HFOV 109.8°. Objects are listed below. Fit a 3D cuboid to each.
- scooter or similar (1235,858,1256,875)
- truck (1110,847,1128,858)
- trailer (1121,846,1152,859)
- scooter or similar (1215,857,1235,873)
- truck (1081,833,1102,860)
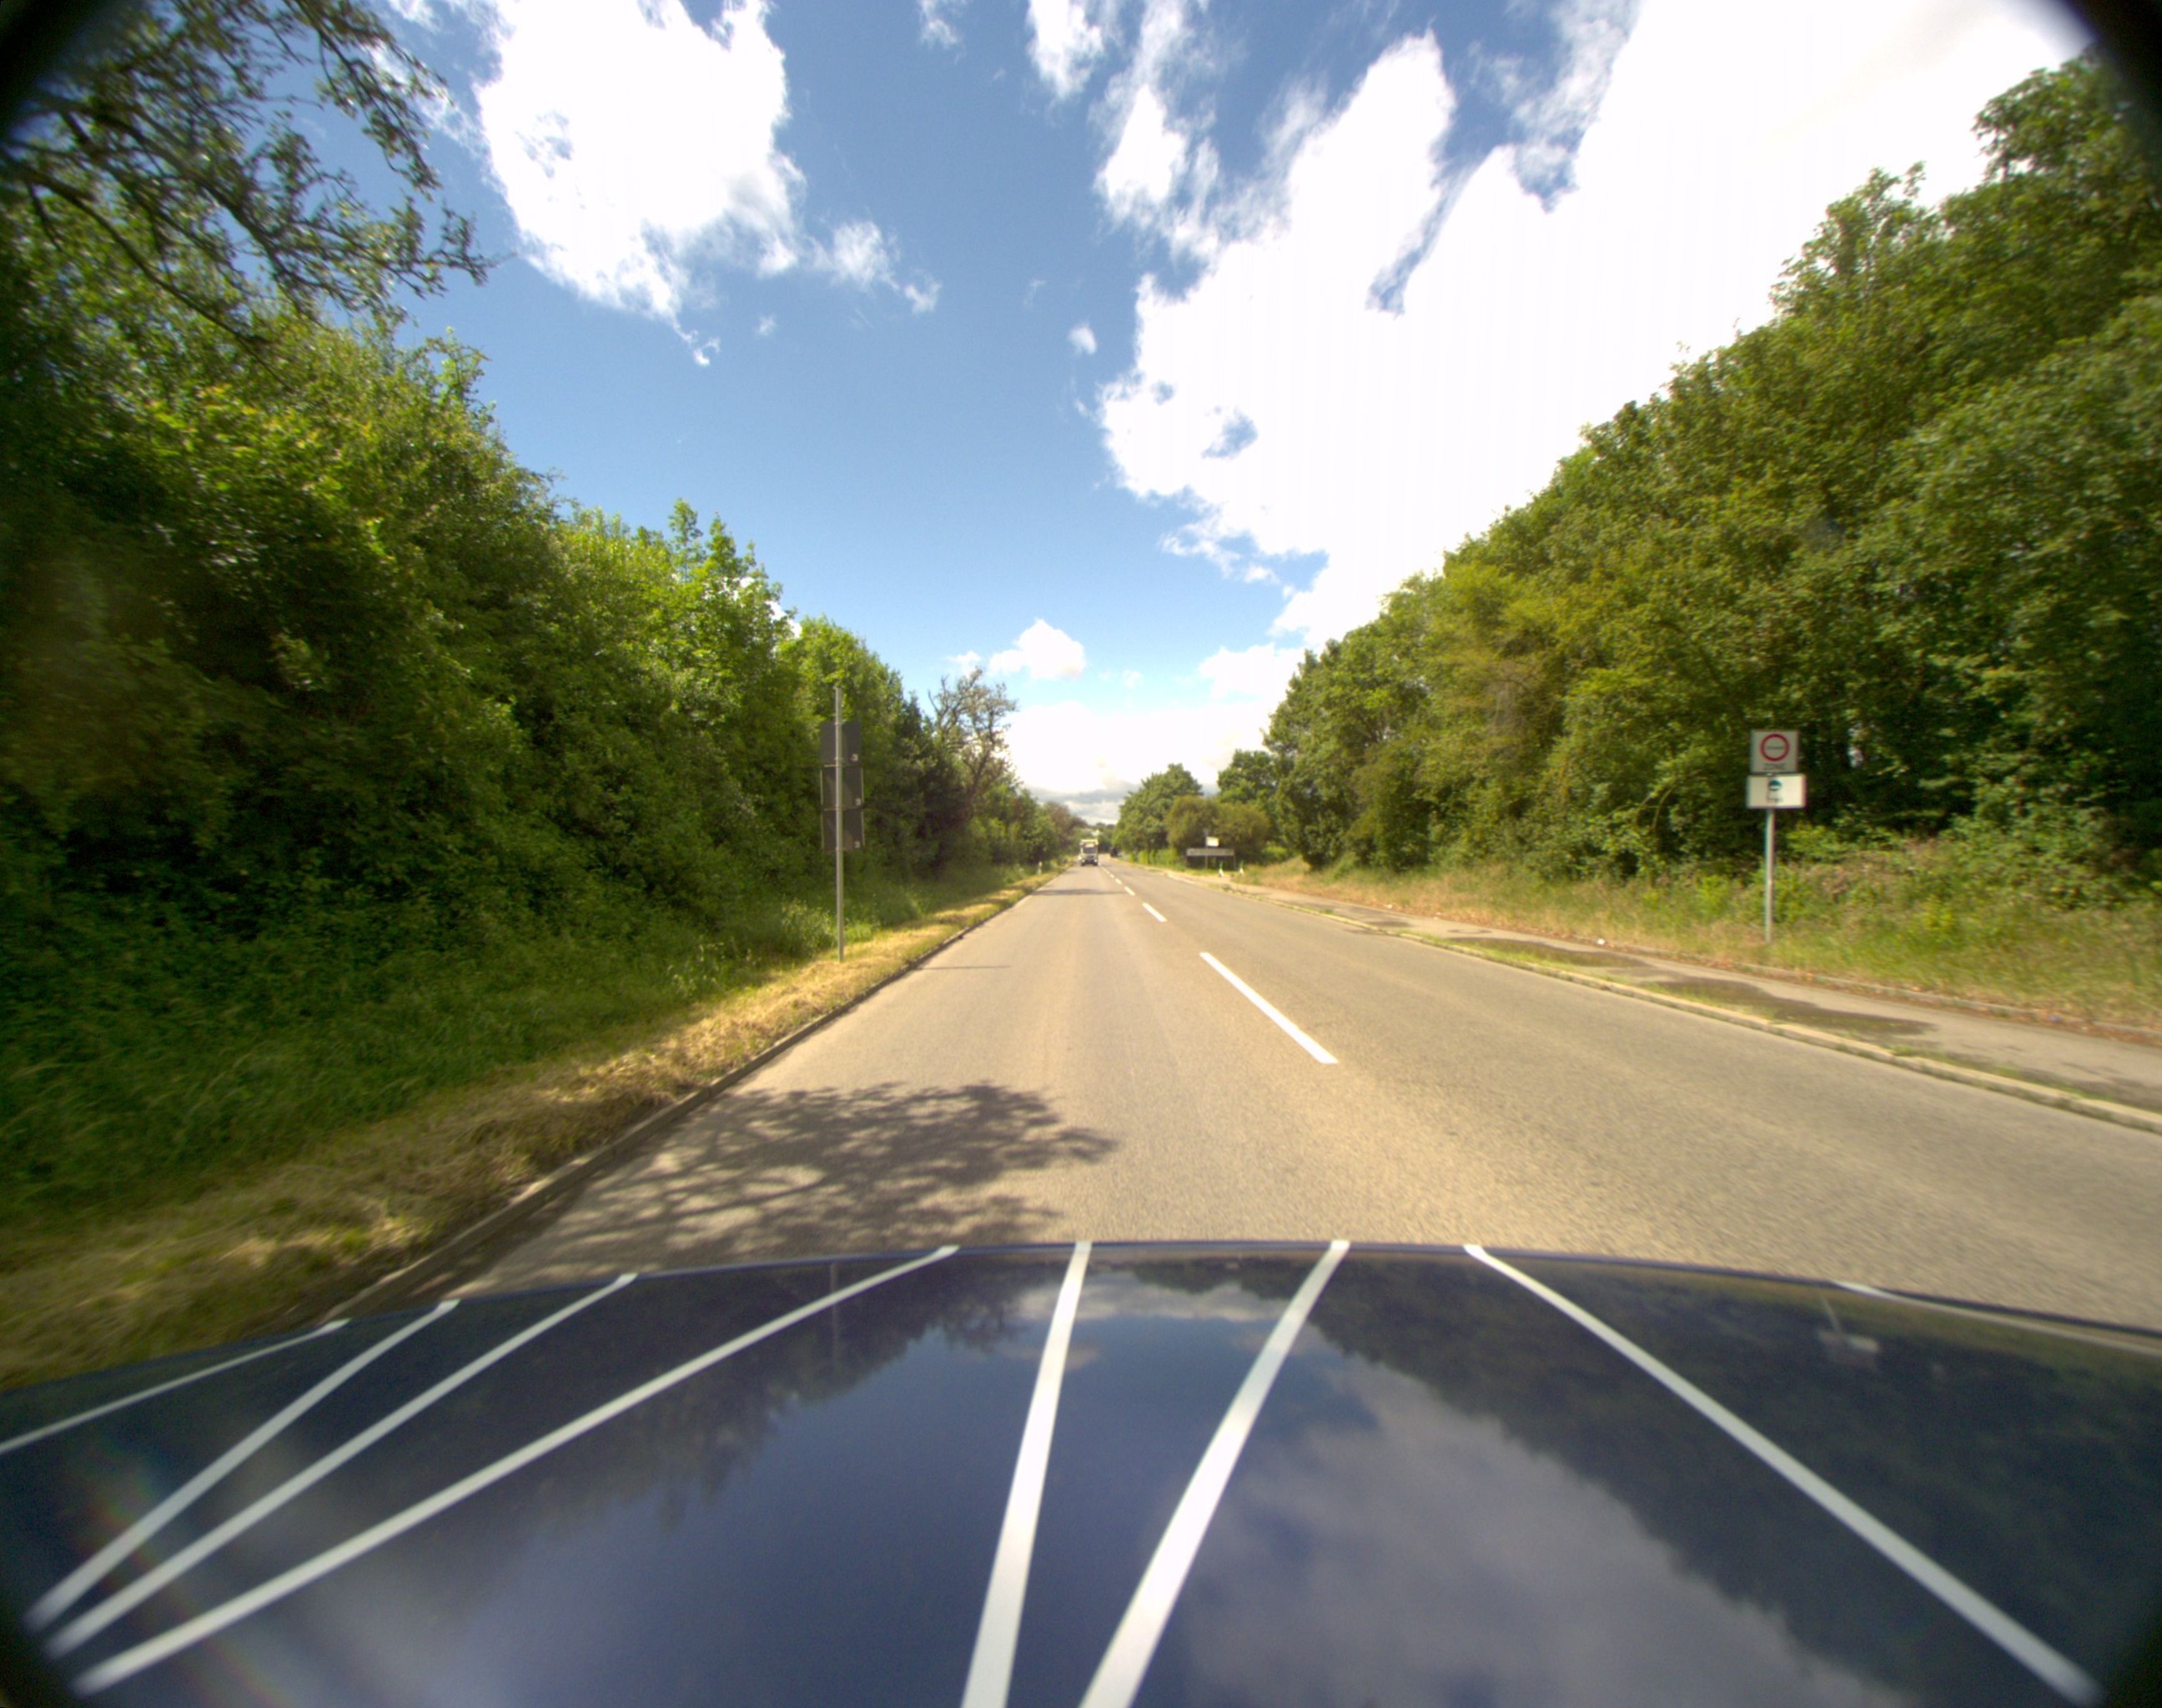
[{"bbox_3d":[11.416,0.838,52.659,1.347,1.162,0.408,-1,0,41],"label":"scooter or similar"},{"bbox_3d":[12.284,-0.464,247.790,5.570,3.801,2.983,0,1,-4],"label":"truck"},{"bbox_3d":[18.217,-0.512,249.033,9.472,4.059,3.315,0,1,-15],"label":"trailer"},{"bbox_3d":[10.112,0.775,53.337,0.408,1.162,1.347,-2,0,-43],"label":"scooter or similar"},{"bbox_3d":[1.486,-1.070,109.632,2.905,3.746,9.634,0,0,0],"label":"truck"}]
